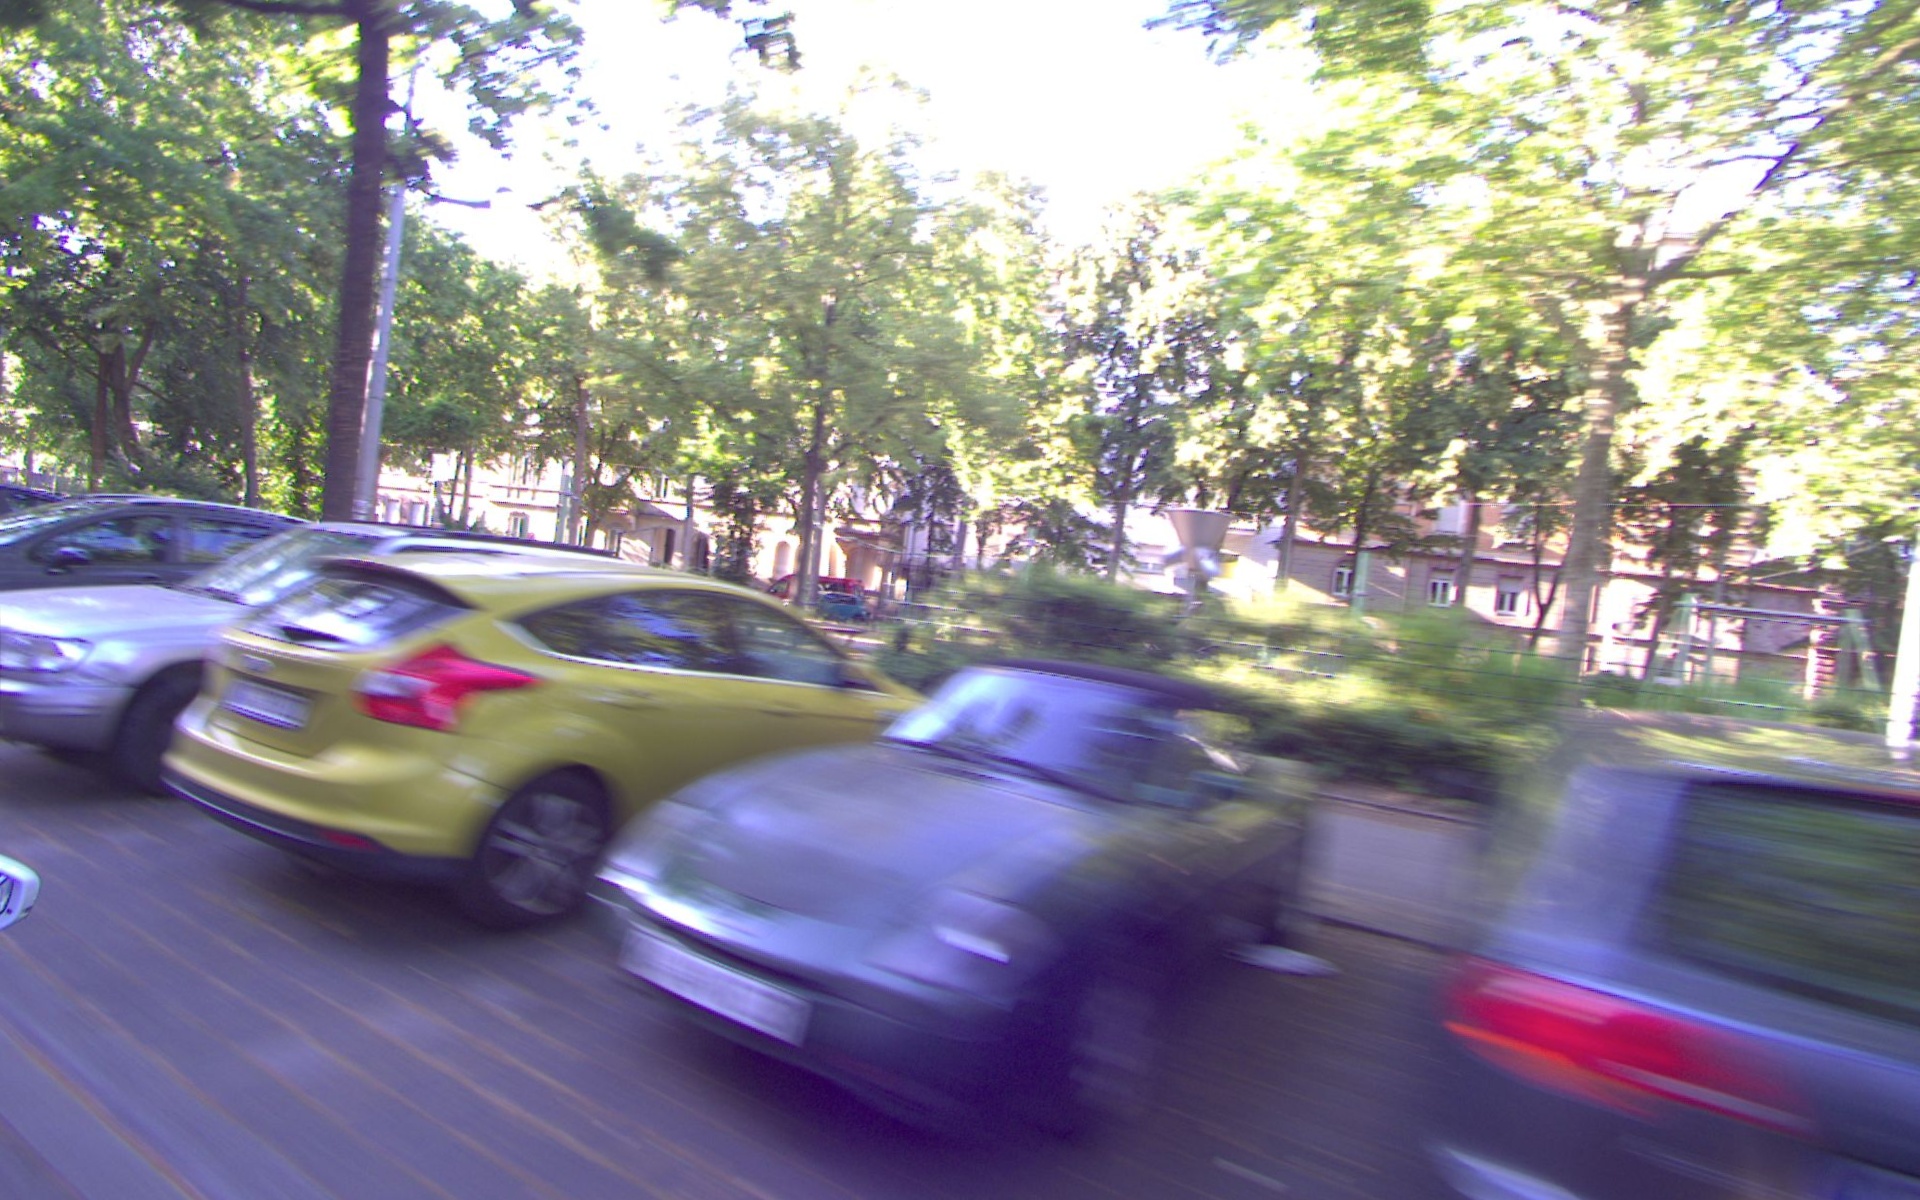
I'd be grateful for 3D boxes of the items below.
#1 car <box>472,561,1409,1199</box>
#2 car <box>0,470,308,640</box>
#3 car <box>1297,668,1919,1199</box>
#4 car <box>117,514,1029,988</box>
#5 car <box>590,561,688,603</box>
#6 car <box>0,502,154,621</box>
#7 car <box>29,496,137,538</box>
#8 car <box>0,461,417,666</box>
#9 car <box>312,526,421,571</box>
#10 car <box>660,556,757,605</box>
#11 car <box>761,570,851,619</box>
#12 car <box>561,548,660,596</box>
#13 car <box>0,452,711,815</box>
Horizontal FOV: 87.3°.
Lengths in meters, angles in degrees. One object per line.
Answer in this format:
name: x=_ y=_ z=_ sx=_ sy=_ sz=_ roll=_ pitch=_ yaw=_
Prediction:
car: x=0.535 y=0.823 z=4.371 sx=1.808 sy=1.458 sz=4.402 roll=6 pitch=0 yaw=33
car: x=-9.902 y=-0.505 z=10.867 sx=1.805 sy=1.611 sz=4.408 roll=6 pitch=0 yaw=26
car: x=2.434 y=1.046 z=3.126 sx=1.807 sy=1.458 sz=4.405 roll=6 pitch=0 yaw=30
car: x=-1.535 y=0.582 z=5.557 sx=1.808 sy=1.458 sz=4.402 roll=6 pitch=0 yaw=33
car: x=-17.540 y=-0.971 z=55.028 sx=4.649 sy=1.706 sz=2.002 roll=5 pitch=-2 yaw=17
car: x=-11.948 y=-0.574 z=11.523 sx=1.662 sy=1.295 sz=3.848 roll=7 pitch=0 yaw=30
car: x=-53.455 y=-5.037 z=61.432 sx=4.675 sy=1.703 sz=1.981 roll=8 pitch=-3 yaw=-37
car: x=-7.804 y=-0.302 z=9.406 sx=1.807 sy=1.611 sz=4.403 roll=6 pitch=0 yaw=32
car: x=-31.046 y=-2.650 z=52.699 sx=4.674 sy=1.703 sz=1.982 roll=8 pitch=-3 yaw=-36
car: x=-11.415 y=-0.848 z=45.918 sx=1.967 sy=1.703 sz=3.995 roll=5 pitch=-3 yaw=31
car: x=-7.899 y=-0.264 z=51.786 sx=3.924 sy=2.037 sz=2.002 roll=5 pitch=-2 yaw=16
car: x=-16.610 y=-1.312 z=47.983 sx=1.967 sy=1.703 sz=3.995 roll=5 pitch=-3 yaw=31
car: x=-3.964 y=0.206 z=6.732 sx=1.807 sy=1.611 sz=4.405 roll=6 pitch=0 yaw=30
